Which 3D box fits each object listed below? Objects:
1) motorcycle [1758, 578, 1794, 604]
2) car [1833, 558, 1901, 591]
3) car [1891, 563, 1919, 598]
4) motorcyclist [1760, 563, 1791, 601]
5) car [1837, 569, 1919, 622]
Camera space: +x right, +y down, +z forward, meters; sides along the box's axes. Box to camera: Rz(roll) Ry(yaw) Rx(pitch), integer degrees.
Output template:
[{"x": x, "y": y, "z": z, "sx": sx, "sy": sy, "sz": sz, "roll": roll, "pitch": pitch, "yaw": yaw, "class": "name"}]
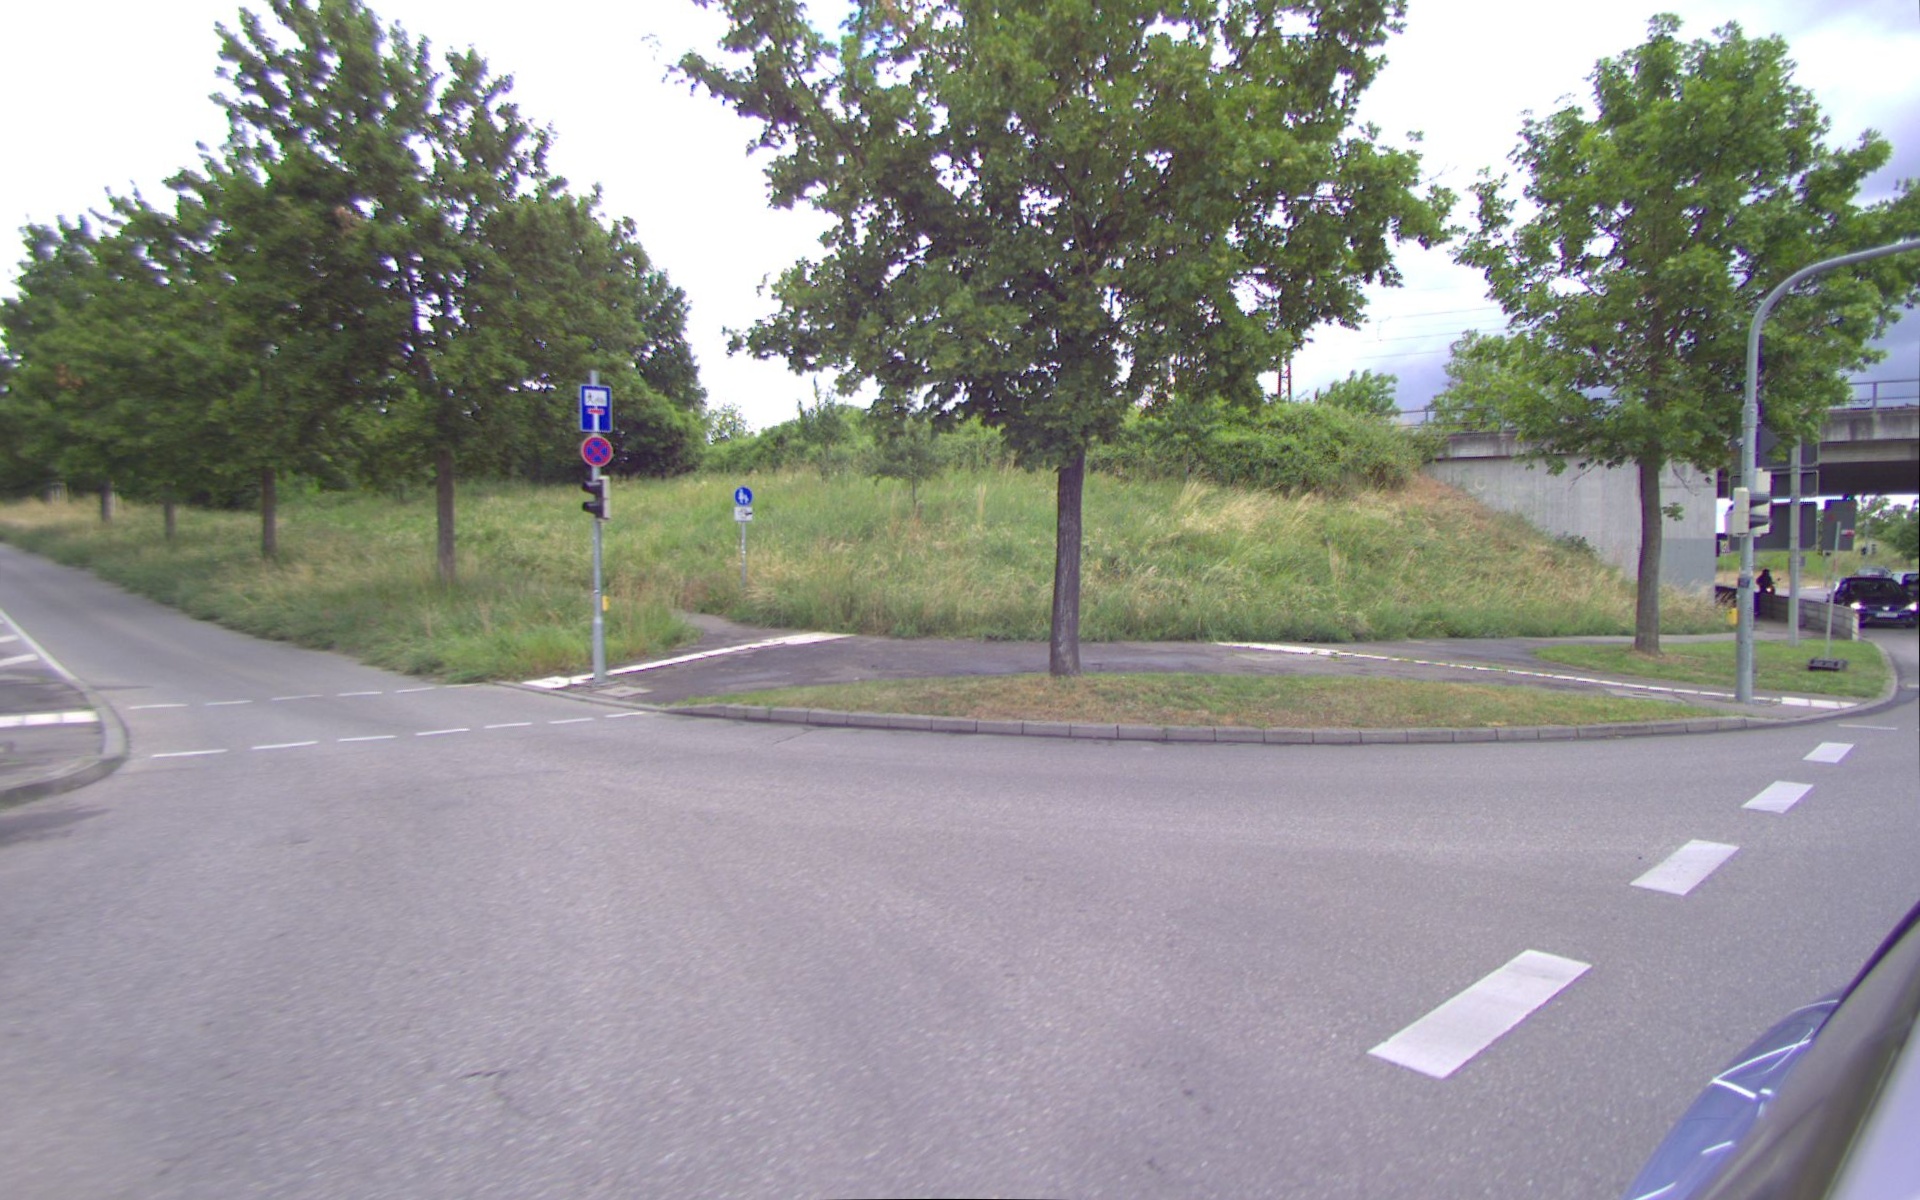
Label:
[{"x": 36.250, "y": -0.421, "z": 45.007, "sx": 0.875, "sy": 1.118, "sz": 2.335, "roll": -1, "pitch": 0, "yaw": 30, "class": "motorcycle"}, {"x": 47.475, "y": -1.330, "z": 53.048, "sx": 1.745, "sy": 1.640, "sz": 4.326, "roll": -1, "pitch": 0, "yaw": 30, "class": "car"}, {"x": 43.180, "y": -0.890, "z": 45.262, "sx": 1.749, "sy": 1.533, "sz": 3.838, "roll": -1, "pitch": 0, "yaw": 36, "class": "car"}, {"x": 36.166, "y": -0.788, "z": 44.887, "sx": 0.876, "sy": 1.625, "sz": 1.230, "roll": -1, "pitch": 0, "yaw": 30, "class": "motorcyclist"}, {"x": 29.405, "y": -0.161, "z": 32.209, "sx": 1.747, "sy": 1.560, "sz": 3.952, "roll": -1, "pitch": 0, "yaw": 34, "class": "car"}]
